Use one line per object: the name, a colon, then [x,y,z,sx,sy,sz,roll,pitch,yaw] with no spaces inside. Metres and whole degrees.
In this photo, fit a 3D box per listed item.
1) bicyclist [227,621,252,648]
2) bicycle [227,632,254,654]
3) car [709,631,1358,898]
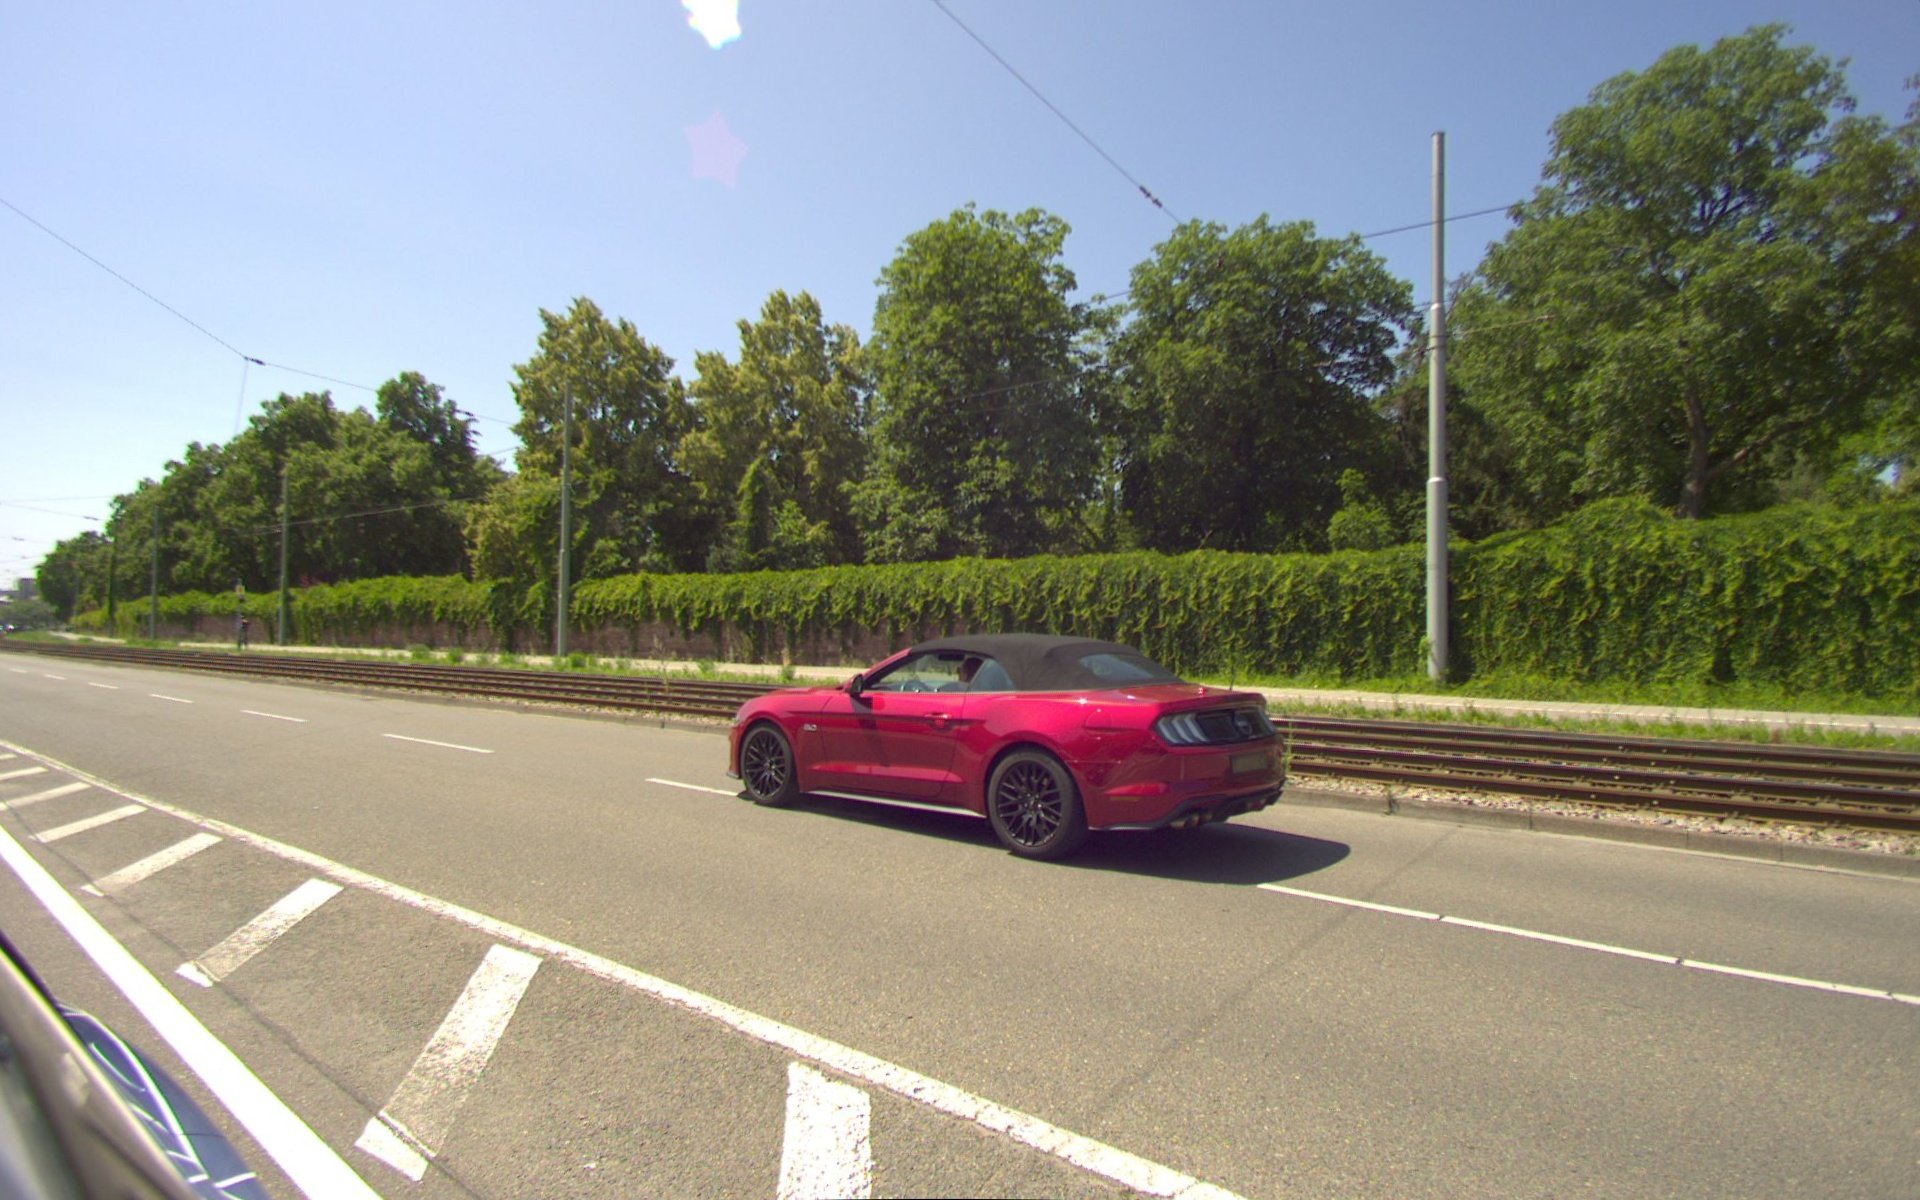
bicyclist: [-39.942,1.899,56.118,0.983,1.497,1.001,1,-2,-44]
bicycle: [-39.833,2.366,55.998,0.818,1.165,2.687,1,-2,-44]
car: [0.295,0.915,7.483,4.536,1.369,1.963,-2,-2,41]
